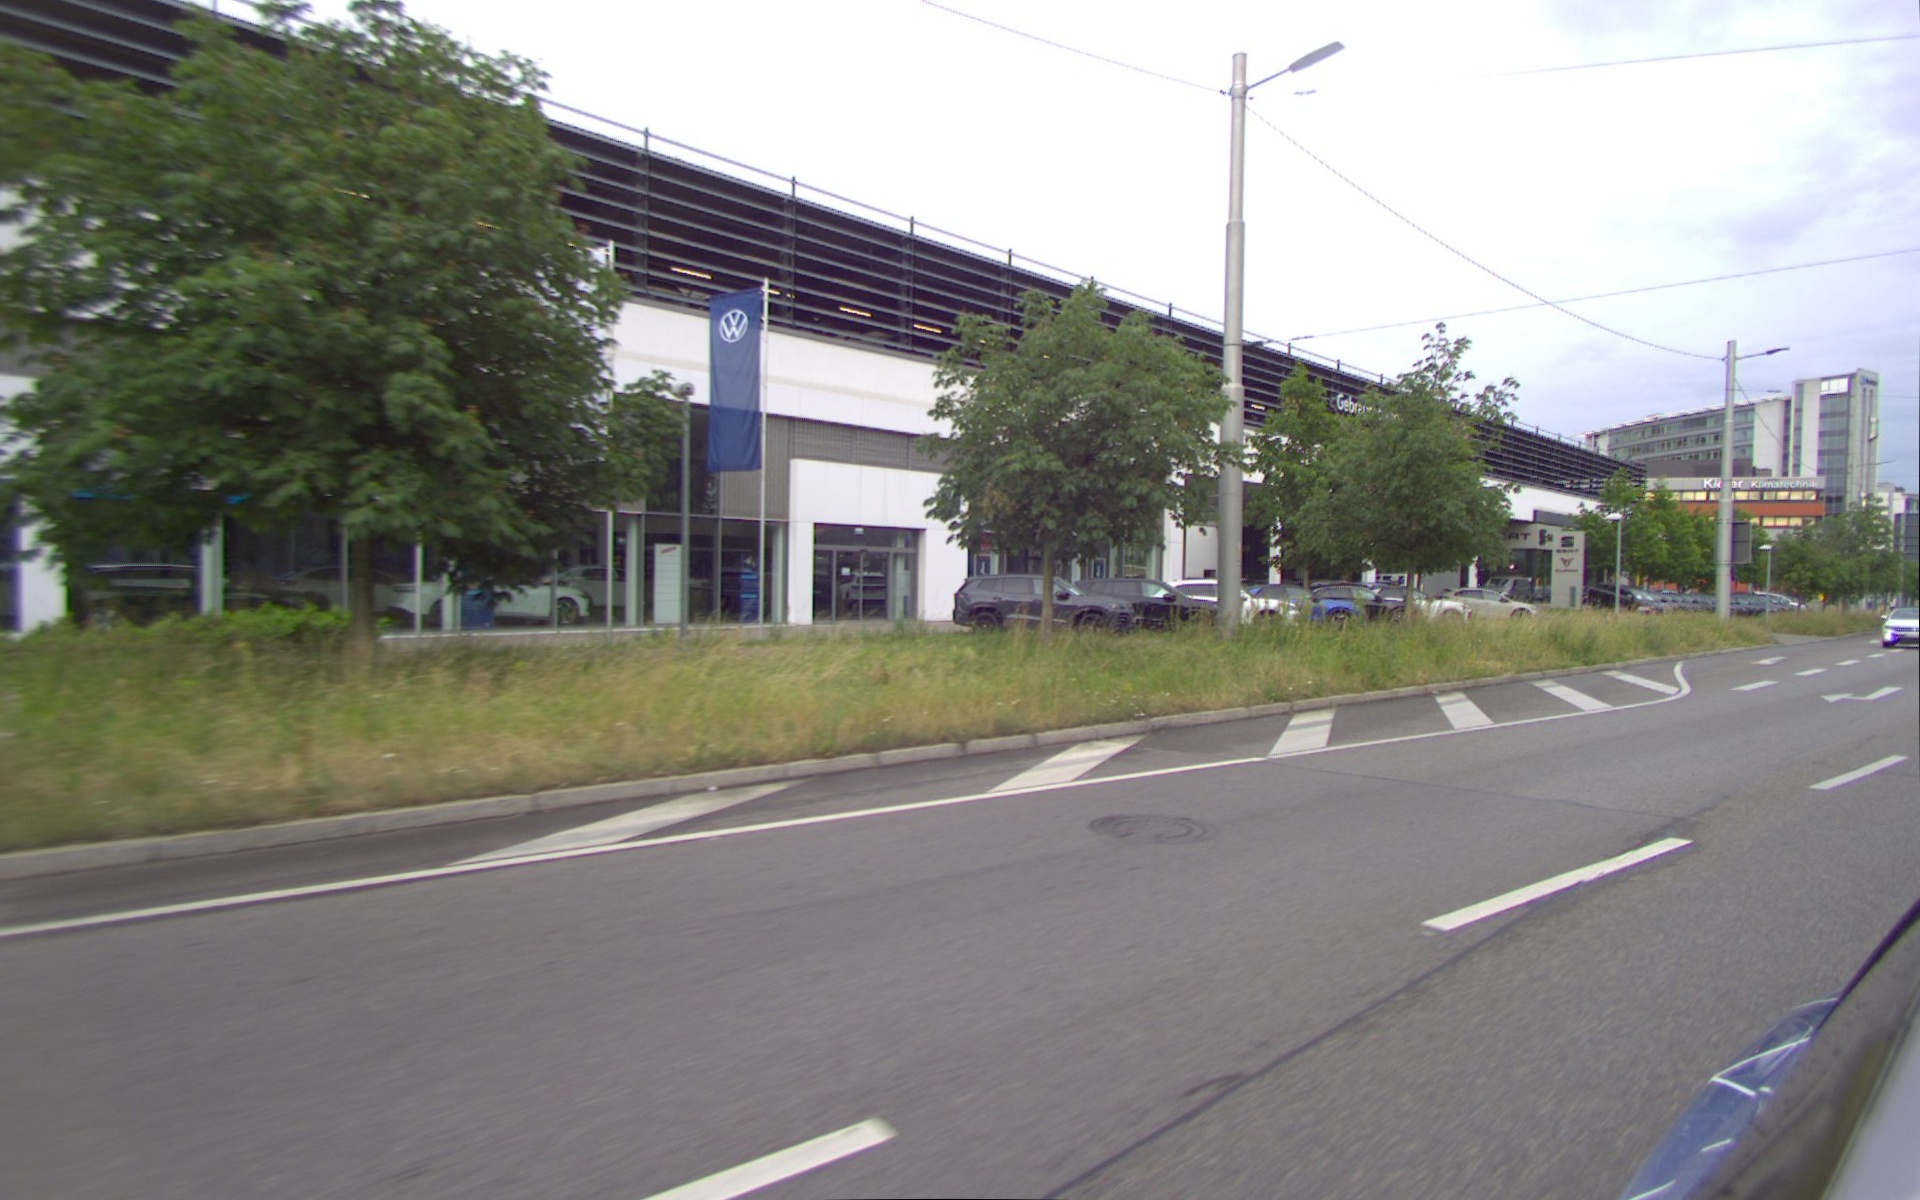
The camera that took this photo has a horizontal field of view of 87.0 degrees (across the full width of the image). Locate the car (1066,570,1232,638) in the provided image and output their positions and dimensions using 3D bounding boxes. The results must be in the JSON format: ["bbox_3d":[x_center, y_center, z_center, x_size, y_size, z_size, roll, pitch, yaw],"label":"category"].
[{"bbox_3d":[5.264,0.050,28.071,4.317,1.587,1.790,3,3,17],"label":"car"}]

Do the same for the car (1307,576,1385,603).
[{"bbox_3d":[22.917,-0.623,60.156,1.734,1.442,3.993,0,2,-43],"label":"car"}]

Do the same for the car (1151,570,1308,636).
[{"bbox_3d":[7.954,0.038,29.939,4.298,1.646,1.846,3,3,18],"label":"car"}]

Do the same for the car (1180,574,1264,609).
[{"bbox_3d":[13.242,-0.454,51.230,1.611,1.607,3.821,0,2,-43],"label":"car"}]

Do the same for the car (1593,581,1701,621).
[{"bbox_3d":[38.059,0.030,56.200,1.786,1.899,4.734,2,2,-19],"label":"car"}]

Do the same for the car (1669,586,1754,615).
[{"bbox_3d":[49.220,0.007,66.382,4.115,1.588,1.891,4,2,28],"label":"car"}]

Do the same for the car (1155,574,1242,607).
[{"bbox_3d":[11.681,-0.476,49.733,3.811,1.470,1.709,3,2,40],"label":"car"}]

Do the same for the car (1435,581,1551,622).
[{"bbox_3d":[22.882,0.051,43.627,4.042,1.483,1.741,3,3,15],"label":"car"}]

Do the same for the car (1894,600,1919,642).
[{"bbox_3d":[36.011,0.779,37.380,3.770,1.513,1.877,1,1,-42],"label":"car"}]

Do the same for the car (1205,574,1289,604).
[{"bbox_3d":[15.104,-0.558,53.388,1.754,1.527,3.994,0,-1,-40],"label":"car"}]

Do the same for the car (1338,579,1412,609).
[{"bbox_3d":[22.320,-0.343,54.376,4.618,1.485,1.897,-1,4,-43],"label":"car"}]

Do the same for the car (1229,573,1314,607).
[{"bbox_3d":[16.818,-0.525,54.766,1.857,1.750,3.994,0,-1,-40],"label":"car"}]

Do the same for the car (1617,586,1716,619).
[{"bbox_3d":[40.950,0.132,58.755,4.280,1.632,1.859,3,2,19],"label":"car"}]

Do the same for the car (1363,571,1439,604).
[{"bbox_3d":[28.293,-0.813,64.962,1.912,2.000,4.032,0,2,-43],"label":"car"}]

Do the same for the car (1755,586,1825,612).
[{"bbox_3d":[73.654,-0.126,89.855,4.463,2.016,1.802,4,2,30],"label":"car"}]

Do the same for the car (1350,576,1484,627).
[{"bbox_3d":[16.561,0.036,36.873,4.036,1.587,1.794,3,3,12],"label":"car"}]

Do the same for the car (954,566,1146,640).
[{"bbox_3d":[2.318,0.017,25.905,4.566,1.587,1.842,3,3,18],"label":"car"}]

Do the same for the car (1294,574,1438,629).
[{"bbox_3d":[13.628,0.033,34.197,4.119,1.587,1.796,2,3,8],"label":"car"}]

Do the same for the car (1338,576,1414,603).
[{"bbox_3d":[26.132,-0.656,63.620,1.873,1.555,3.993,0,2,-43],"label":"car"}]

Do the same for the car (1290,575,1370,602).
[{"bbox_3d":[21.348,-0.671,58.458,1.734,1.442,3.993,0,2,-43],"label":"car"}]

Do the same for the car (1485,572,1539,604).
[{"bbox_3d":[36.707,-0.785,67.284,4.356,1.963,1.889,1,1,-44],"label":"car"}]

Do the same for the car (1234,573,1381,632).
[{"bbox_3d":[10.864,0.037,31.940,4.128,1.587,1.793,3,3,14],"label":"car"}]
